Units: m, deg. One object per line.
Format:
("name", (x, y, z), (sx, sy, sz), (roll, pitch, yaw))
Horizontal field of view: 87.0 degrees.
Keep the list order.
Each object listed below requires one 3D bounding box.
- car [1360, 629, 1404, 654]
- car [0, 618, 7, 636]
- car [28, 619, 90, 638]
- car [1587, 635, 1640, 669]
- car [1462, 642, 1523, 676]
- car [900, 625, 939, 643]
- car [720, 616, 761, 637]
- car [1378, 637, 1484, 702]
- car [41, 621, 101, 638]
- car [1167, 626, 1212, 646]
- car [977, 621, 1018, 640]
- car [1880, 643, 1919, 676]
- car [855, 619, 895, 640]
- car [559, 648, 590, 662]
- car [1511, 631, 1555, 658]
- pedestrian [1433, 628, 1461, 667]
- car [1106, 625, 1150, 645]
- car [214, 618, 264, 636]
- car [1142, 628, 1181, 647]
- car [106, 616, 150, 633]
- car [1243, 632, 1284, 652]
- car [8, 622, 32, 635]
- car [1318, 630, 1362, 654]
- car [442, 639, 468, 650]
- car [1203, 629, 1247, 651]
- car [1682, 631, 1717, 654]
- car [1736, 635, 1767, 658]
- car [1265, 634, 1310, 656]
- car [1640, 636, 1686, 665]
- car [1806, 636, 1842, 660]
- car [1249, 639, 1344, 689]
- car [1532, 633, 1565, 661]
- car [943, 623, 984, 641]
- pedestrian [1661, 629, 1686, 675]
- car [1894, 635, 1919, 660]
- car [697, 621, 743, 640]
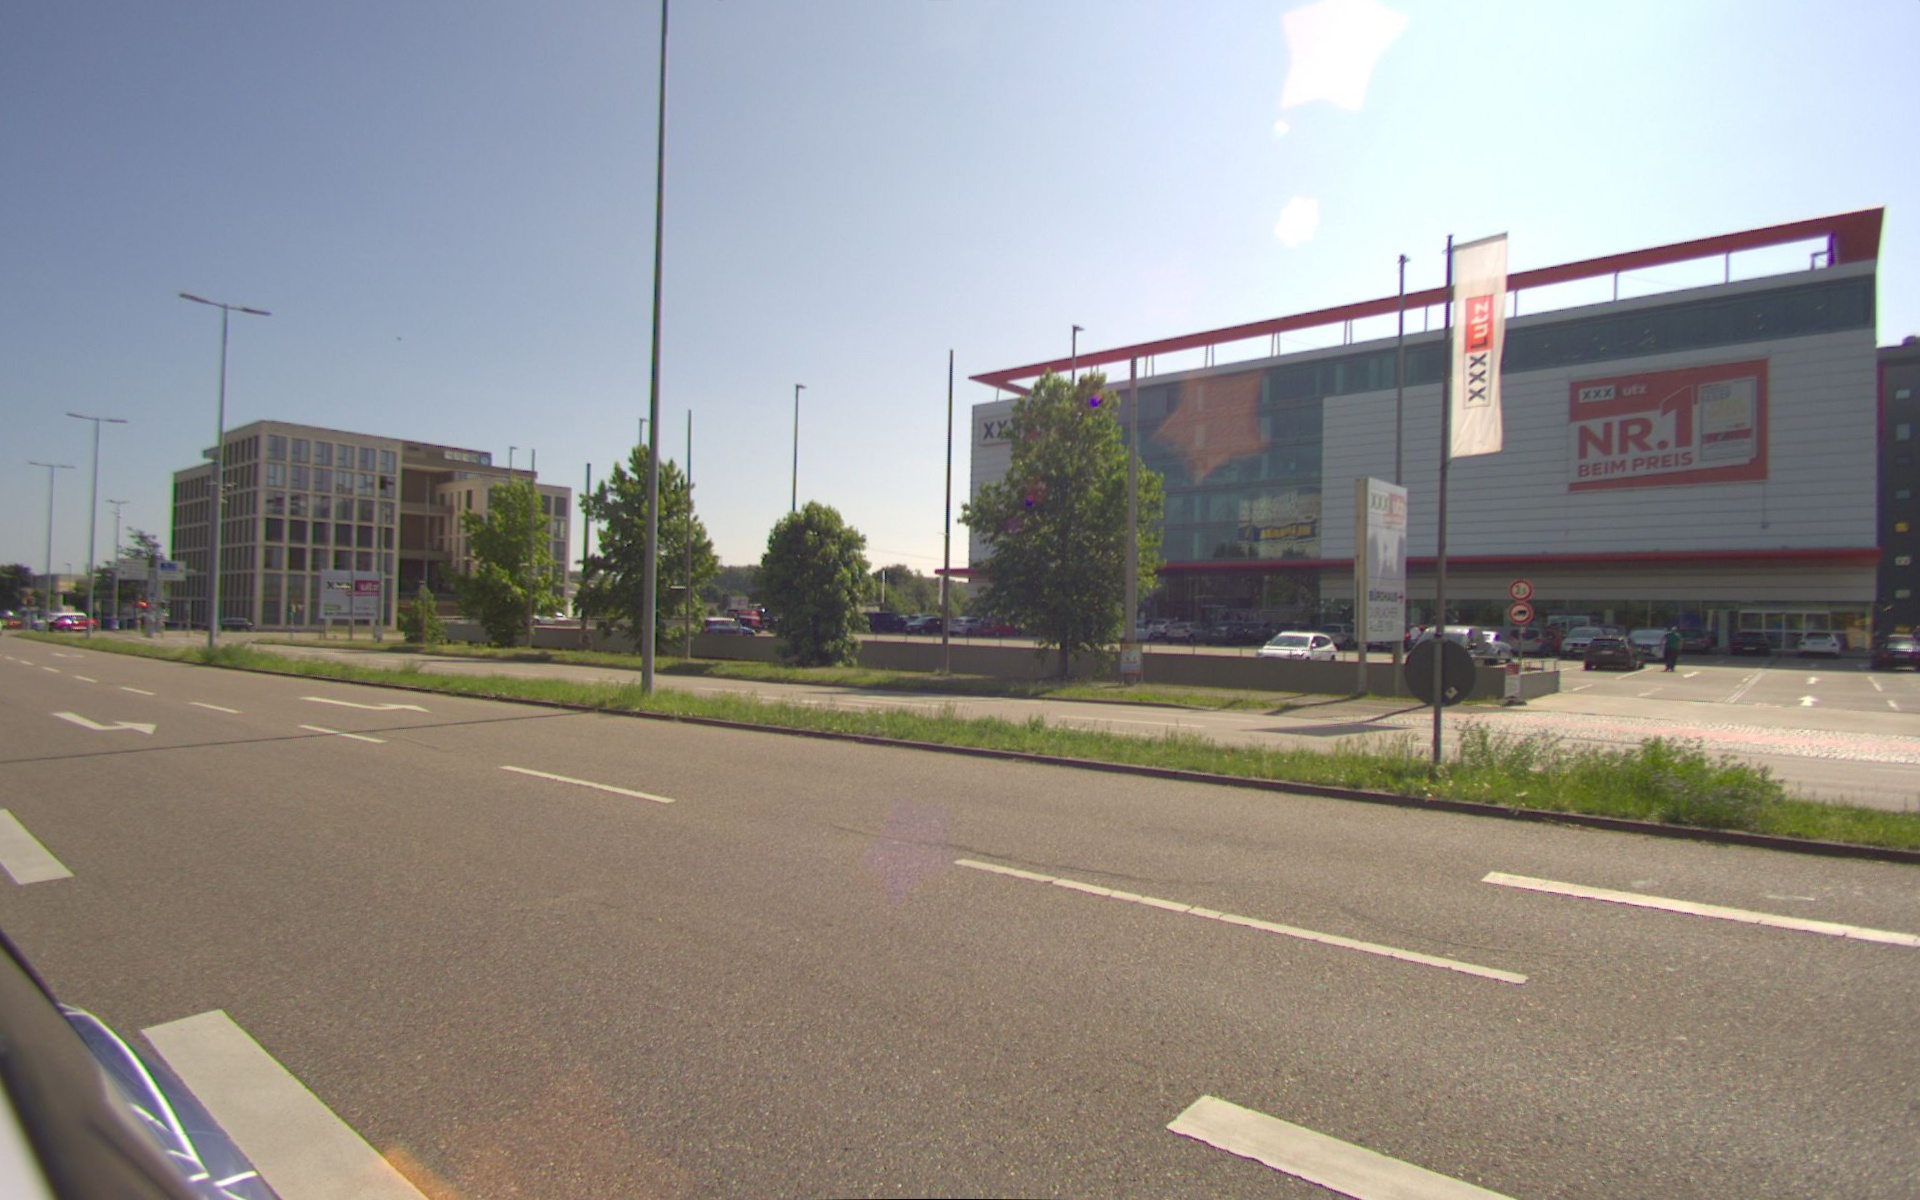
("car", (24.322, 2.370, 58.229), (1.514, 1.340, 3.056), (1, -1, 40))
("car", (-103.679, 2.868, 108.357), (2.153, 1.923, 4.738), (3, -3, -40))
("car", (-87.819, 2.790, 98.670), (1.902, 1.724, 4.176), (-1, -3, 38))
("car", (27.222, 2.134, 42.127), (1.514, 1.340, 3.056), (1, -1, 40))
("car", (23.588, 2.569, 44.773), (1.514, 1.340, 4.443), (1, -1, 39))
("car", (-3.311, 2.766, 82.391), (1.514, 1.340, 3.056), (1, -1, 40))
("car", (-17.582, 2.146, 81.177), (1.772, 1.568, 2.739), (-2, -3, 40))
("car", (14.804, 2.114, 31.660), (1.944, 1.856, 4.367), (0, -2, 40))
("car", (-84.536, 2.794, 96.256), (1.529, 1.539, 4.066), (-1, -3, 38))
("car", (15.118, 2.360, 66.599), (1.479, 1.208, 3.463), (1, -1, 40))
("car", (2.923, 2.364, 78.231), (1.514, 1.340, 3.181), (1, -1, 40))
("car", (40.793, 2.545, 43.628), (1.514, 1.340, 3.056), (1, -1, 40))
("car", (-7.171, 2.506, 85.712), (1.691, 1.771, 3.056), (1, -1, 40))
("car", (-30.113, 4.297, 79.079), (1.070, 0.983, 1.918), (1, -1, 38))
("car", (30.351, 2.345, 53.544), (1.514, 1.340, 3.056), (1, -1, 40))
("pedestrian", (25.692, 2.508, 53.426), (0.849, 2.029, 1.024), (3, -3, -35))
("car", (11.625, 2.419, 70.014), (1.702, 1.340, 3.056), (1, -1, 40))
("car", (-79.871, 2.989, 112.127), (1.834, 1.903, 4.185), (0, -1, 41))
("car", (14.796, 2.765, 74.228), (1.514, 1.340, 3.056), (1, -1, 40))
("car", (-106.995, 3.130, 130.212), (3.931, 2.029, 2.006), (2, -2, -28))
("car", (20.456, 2.819, 68.216), (1.605, 1.237, 3.056), (1, -1, 40))
("car", (-101.678, 3.106, 109.468), (1.712, 1.374, 3.871), (3, -3, -40))
("car", (22.626, 2.470, 60.259), (1.514, 1.340, 3.056), (1, -1, 40))
("car", (-46.980, 4.110, 94.208), (0.888, 0.983, 1.918), (1, -1, 38))
("car", (16.928, 2.556, 64.592), (1.514, 1.340, 3.056), (1, -1, 40))
("car", (44.824, 2.562, 61.320), (1.514, 1.340, 3.056), (1, -1, 40))
("car", (46.291, 2.716, 59.168), (1.365, 1.276, 3.056), (0, -2, 40))
("car", (19.921, 2.724, 61.515), (1.515, 1.303, 3.056), (1, -1, 40))
("car", (34.940, 2.483, 50.251), (1.514, 1.340, 4.257), (1, -1, 39))
("car", (48.526, 2.681, 56.879), (1.440, 1.234, 3.057), (1, -1, 39))
("car", (12.138, 2.246, 36.355), (1.869, 1.640, 4.369), (0, -2, 38))
("car", (33.563, 2.676, 57.668), (1.297, 1.570, 3.207), (-1, -3, 36))
("car", (0.295, 2.501, 79.228), (1.514, 1.340, 3.181), (1, -1, 40))
("pedestrian", (29.676, 2.169, 42.103), (0.751, 1.872, 0.844), (-1, -4, 41))
("car", (52.844, 2.642, 55.998), (1.514, 1.340, 3.056), (1, -1, 40))
("car", (-13.944, 1.795, 58.901), (1.070, 1.067, 2.489), (1, -1, 38))
